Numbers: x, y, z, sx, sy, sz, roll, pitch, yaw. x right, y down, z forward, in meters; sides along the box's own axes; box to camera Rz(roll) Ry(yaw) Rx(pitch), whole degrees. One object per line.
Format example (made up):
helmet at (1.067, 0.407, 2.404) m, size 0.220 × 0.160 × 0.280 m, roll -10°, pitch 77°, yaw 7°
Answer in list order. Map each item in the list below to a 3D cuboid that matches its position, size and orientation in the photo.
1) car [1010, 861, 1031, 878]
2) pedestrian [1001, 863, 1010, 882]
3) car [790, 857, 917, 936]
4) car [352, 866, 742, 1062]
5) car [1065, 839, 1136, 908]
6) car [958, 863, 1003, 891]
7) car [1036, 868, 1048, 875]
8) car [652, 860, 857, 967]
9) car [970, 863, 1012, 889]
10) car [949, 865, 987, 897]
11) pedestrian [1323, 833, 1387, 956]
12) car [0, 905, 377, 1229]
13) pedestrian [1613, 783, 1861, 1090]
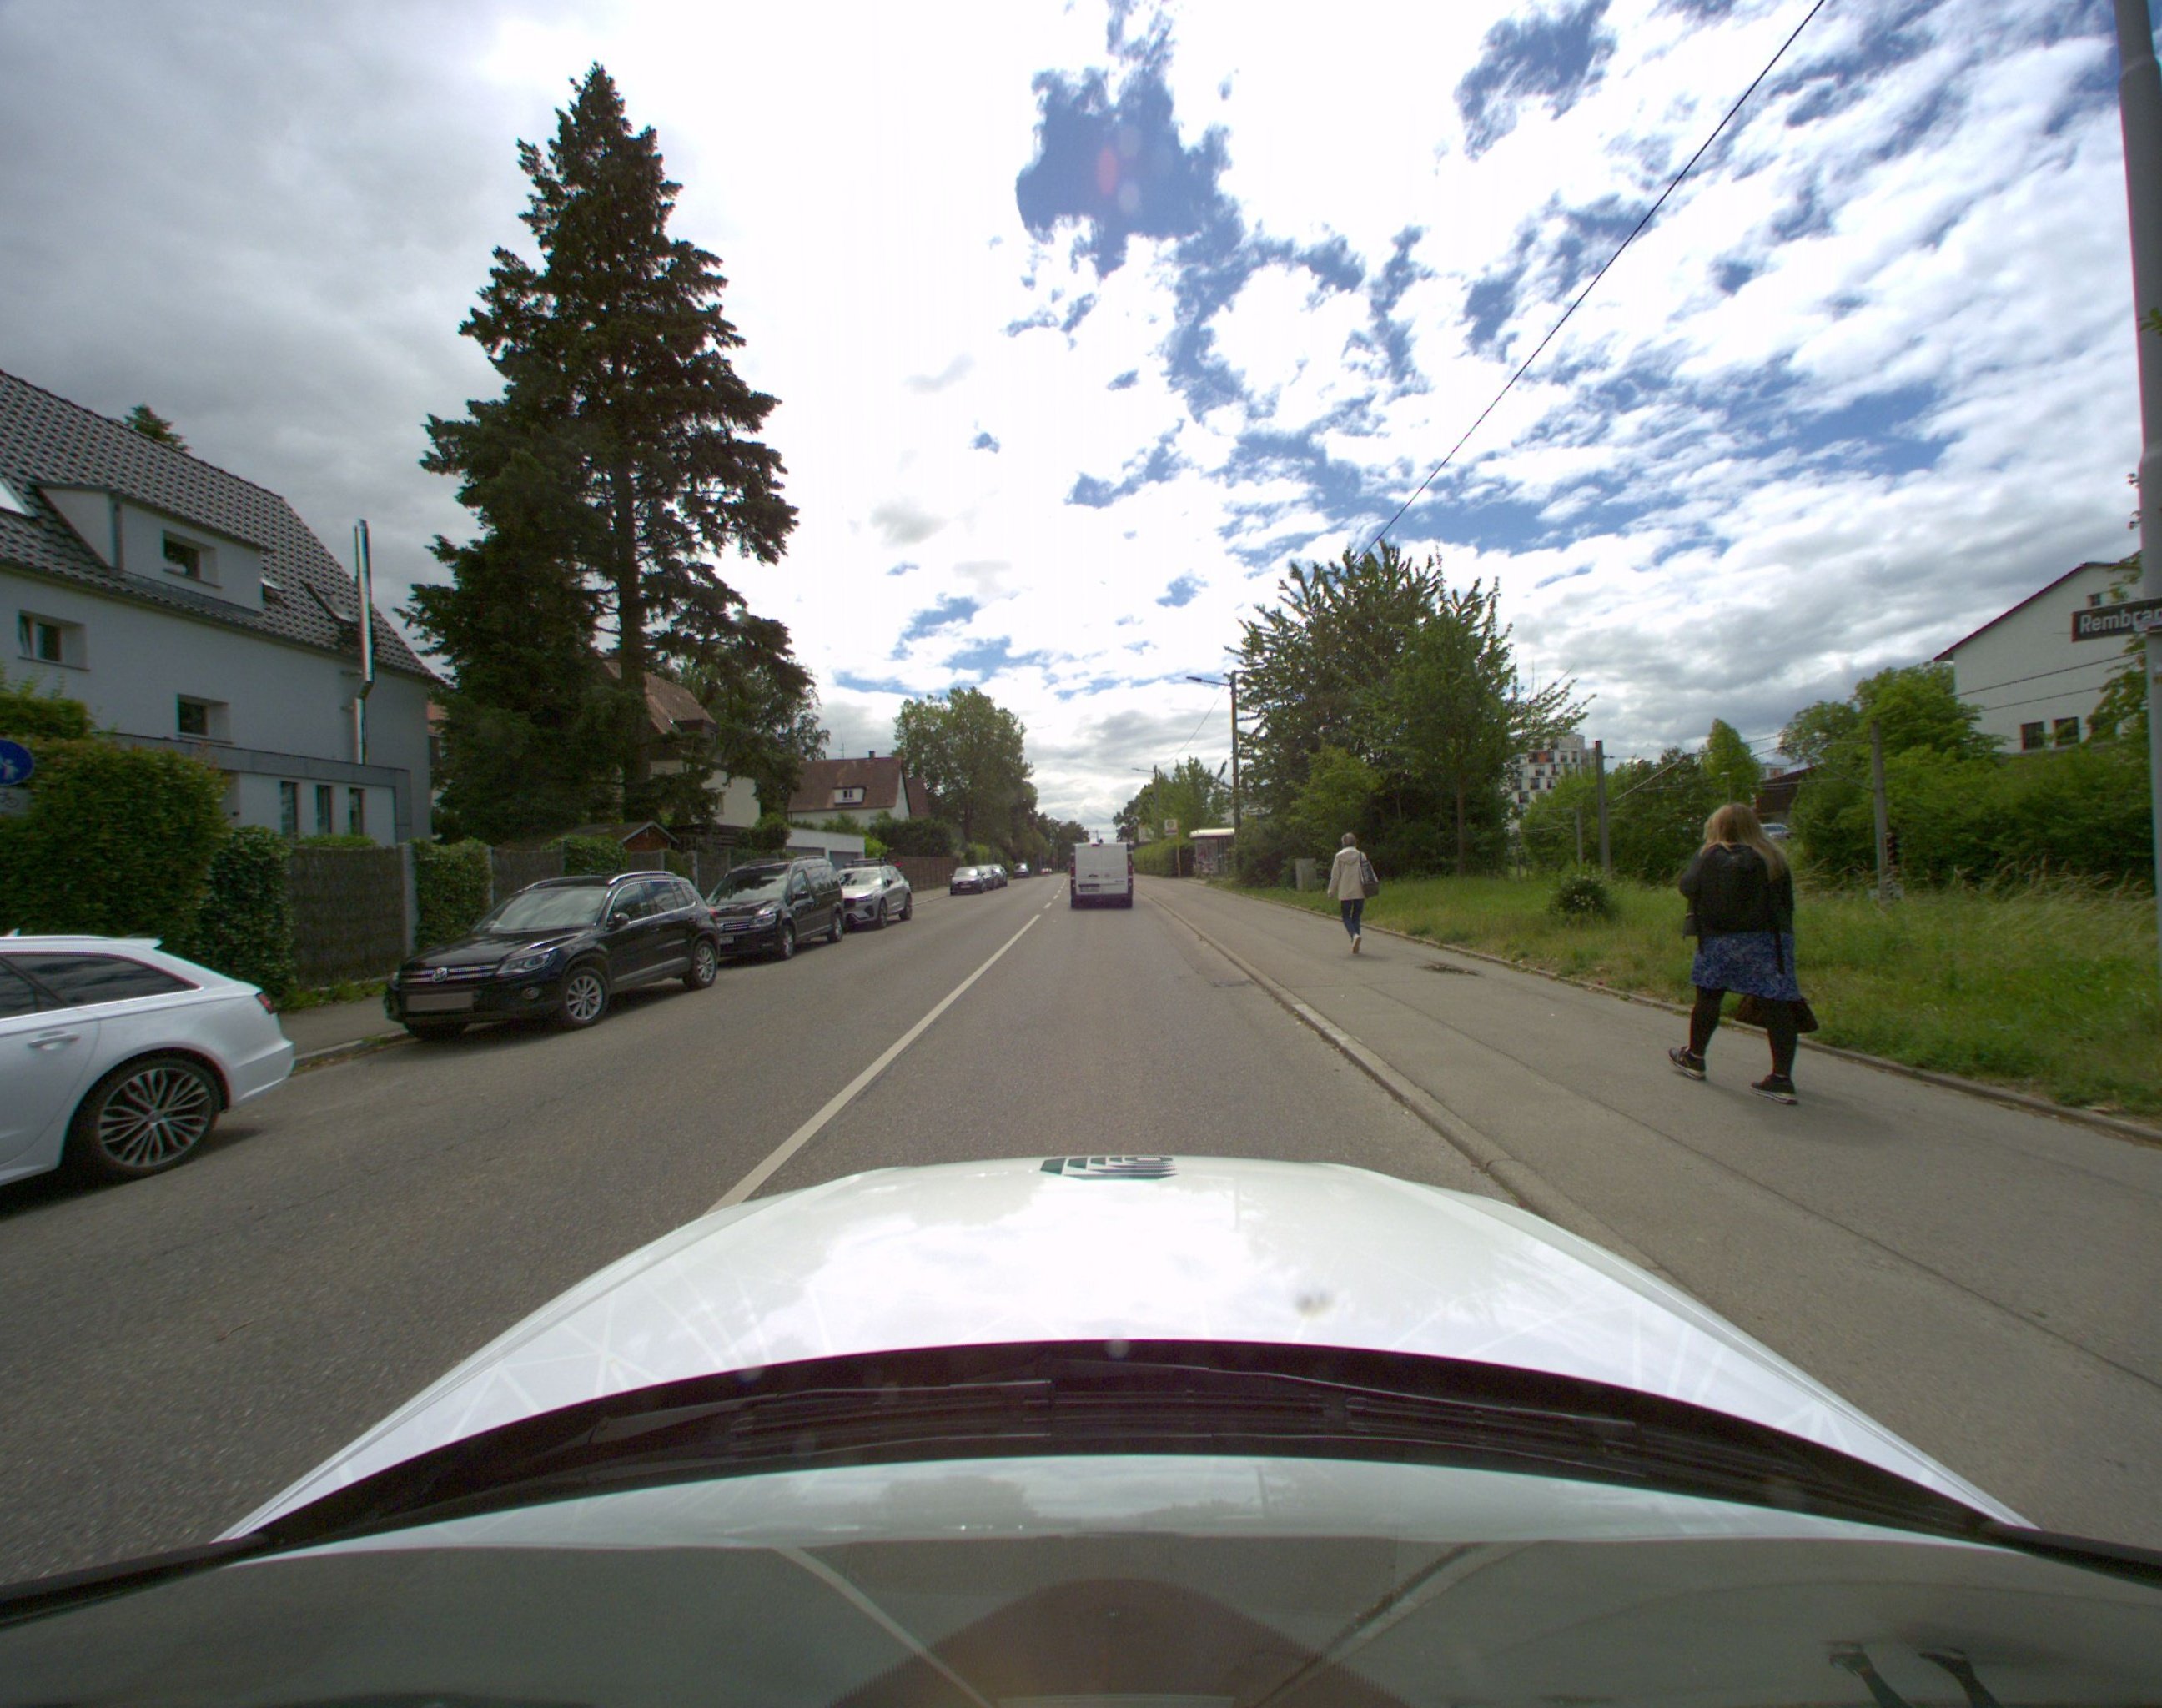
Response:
car at (-6.882, 1.753, 92.355) m, size 2.130 × 1.772 × 4.452 m, roll -1°, pitch 0°, yaw -8°
pedestrian at (-8.211, 1.978, 88.414) m, size 0.870 × 2.013 × 1.039 m, roll -4°, pitch -1°, yaw -5°
car at (-5.971, 1.037, 22.062) m, size 1.978 × 1.819 × 4.708 m, roll -3°, pitch 0°, yaw 1°
car at (-6.087, 1.091, 10.109) m, size 1.621 × 1.678 × 4.584 m, roll -5°, pitch 0°, yaw 1°
car at (0.634, 0.567, 25.927) m, size 2.027 × 1.945 × 4.995 m, roll -1°, pitch 0°, yaw 2°
car at (-5.864, 1.317, 48.028) m, size 1.860 × 1.459 × 4.490 m, roll -3°, pitch -1°, yaw 1°
car at (-8.658, 3.828, 181.906) m, size 2.063 × 1.386 × 4.033 m, roll -3°, pitch 0°, yaw -10°
car at (-6.192, 1.020, 16.196) m, size 2.060 × 1.754 × 4.883 m, roll -1°, pitch 0°, yaw 0°
car at (-5.861, 1.422, 53.552) m, size 1.986 × 1.479 × 4.649 m, roll -4°, pitch -1°, yaw 2°
car at (-5.939, 1.386, 43.108) m, size 1.648 × 1.427 × 3.900 m, roll -4°, pitch 0°, yaw -4°
pedestrian at (3.810, 0.550, 11.385) m, size 0.682 × 1.659 × 0.691 m, roll -1°, pitch -1°, yaw 6°
car at (-6.279, 1.178, 3.510) m, size 1.798 × 1.459 × 5.073 m, roll -4°, pitch 0°, yaw 3°
pedestrian at (3.818, 0.453, 4.824) m, size 0.835 × 1.659 × 0.767 m, roll -1°, pitch -1°, yaw 6°
